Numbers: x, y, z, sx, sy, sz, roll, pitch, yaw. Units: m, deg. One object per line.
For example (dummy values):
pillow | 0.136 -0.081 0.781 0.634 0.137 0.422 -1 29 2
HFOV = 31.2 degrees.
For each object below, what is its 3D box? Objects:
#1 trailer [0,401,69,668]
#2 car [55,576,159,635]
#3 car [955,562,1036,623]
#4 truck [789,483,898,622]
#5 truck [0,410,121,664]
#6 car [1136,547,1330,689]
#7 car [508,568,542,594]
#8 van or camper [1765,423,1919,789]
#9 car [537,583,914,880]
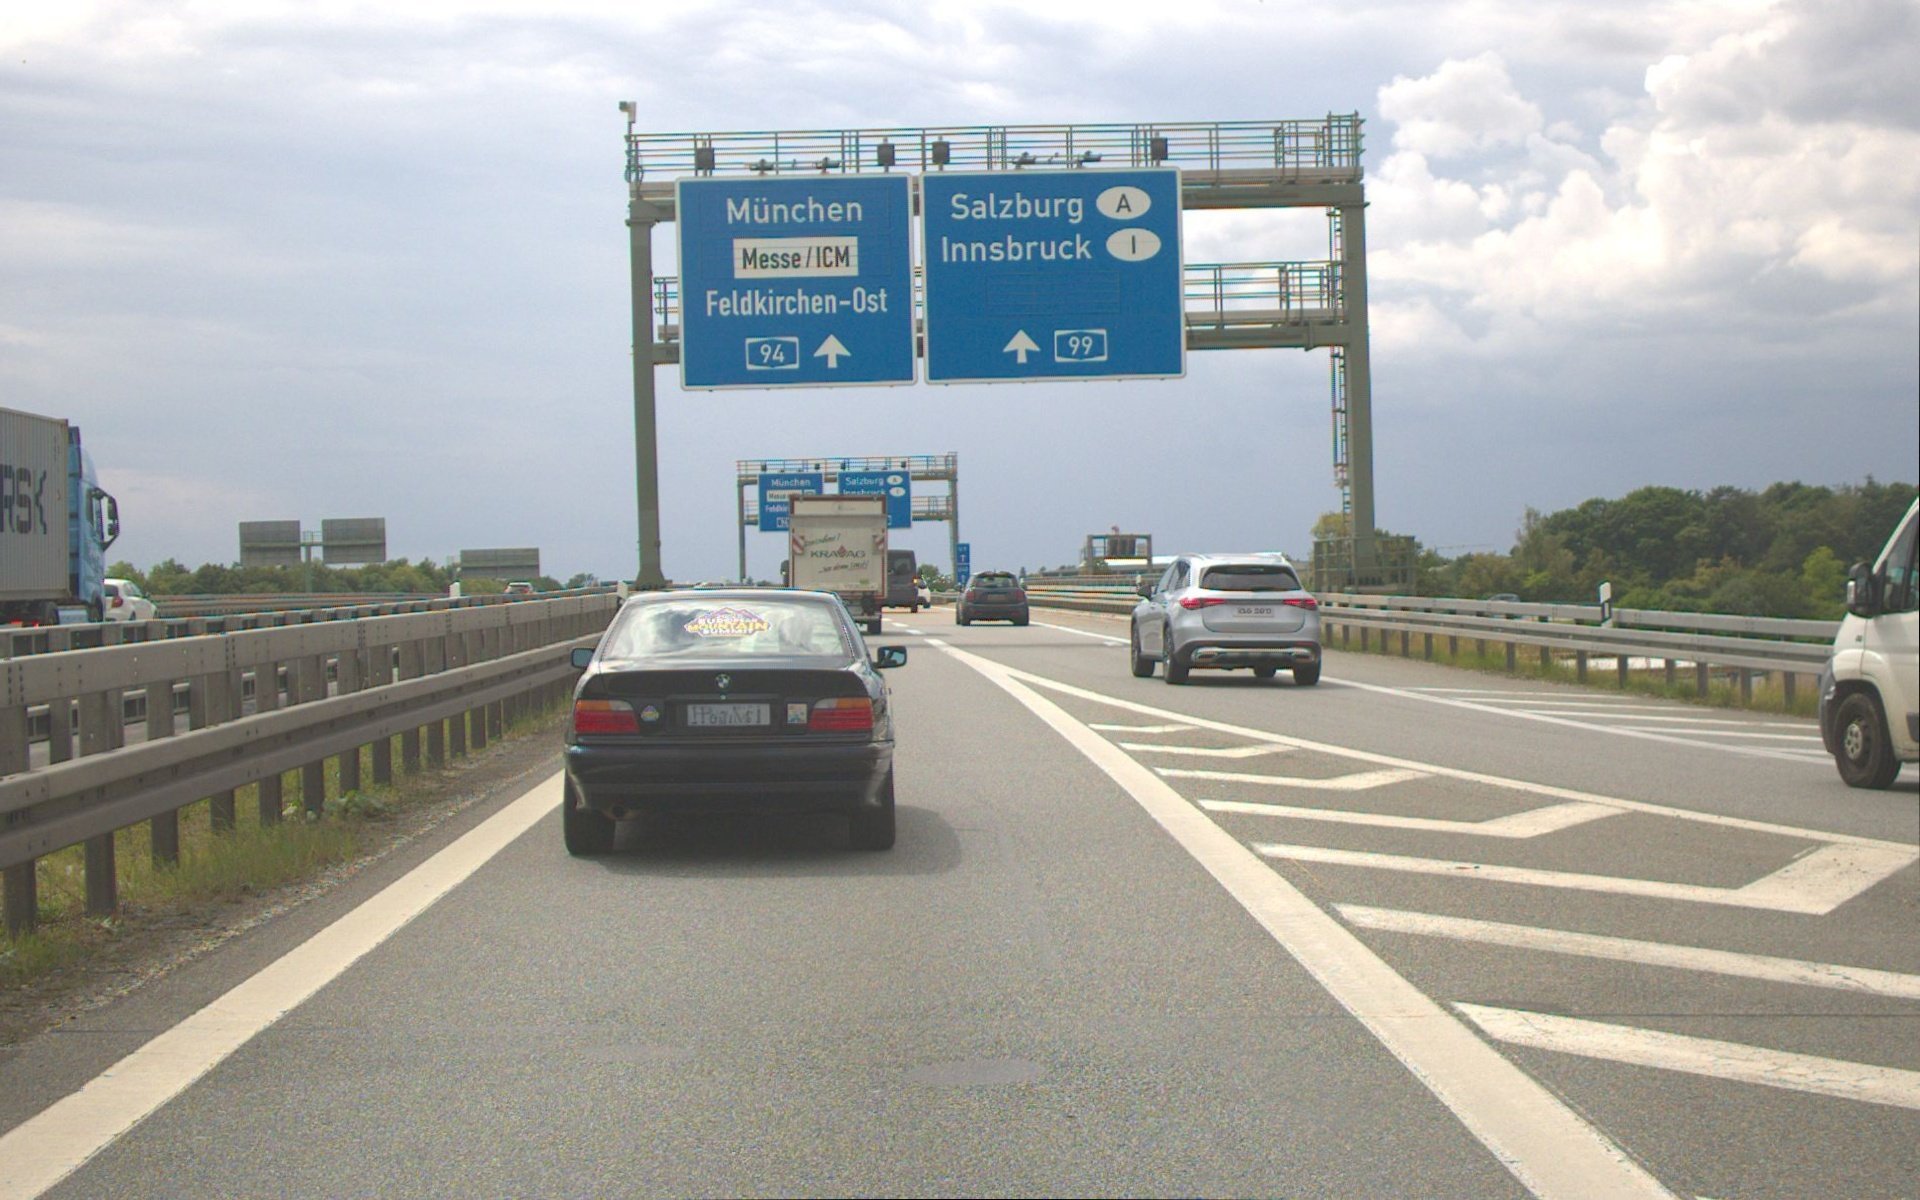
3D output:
trailer | -15.607 -0.959 49.046 3.236 3.911 12.382 0 1 -3
car | -20.530 0.109 82.900 1.752 1.364 4.206 -1 1 -5
car | 0.903 -0.219 89.671 1.993 1.547 4.000 0 0 -1
truck | -2.655 -1.094 79.254 2.404 3.079 6.371 0 1 -1
truck | -15.971 -1.002 56.065 3.246 3.898 6.611 0 1 -3
car | 3.387 0.187 43.408 1.936 1.679 4.209 -1 1 -2
car | -26.945 -1.176 213.067 1.892 1.592 4.418 0 1 -4
van or camper | 7.561 0.048 21.424 2.223 2.353 5.941 0 1 -18
car | -1.165 0.613 18.358 1.782 1.373 4.137 0 1 -1
